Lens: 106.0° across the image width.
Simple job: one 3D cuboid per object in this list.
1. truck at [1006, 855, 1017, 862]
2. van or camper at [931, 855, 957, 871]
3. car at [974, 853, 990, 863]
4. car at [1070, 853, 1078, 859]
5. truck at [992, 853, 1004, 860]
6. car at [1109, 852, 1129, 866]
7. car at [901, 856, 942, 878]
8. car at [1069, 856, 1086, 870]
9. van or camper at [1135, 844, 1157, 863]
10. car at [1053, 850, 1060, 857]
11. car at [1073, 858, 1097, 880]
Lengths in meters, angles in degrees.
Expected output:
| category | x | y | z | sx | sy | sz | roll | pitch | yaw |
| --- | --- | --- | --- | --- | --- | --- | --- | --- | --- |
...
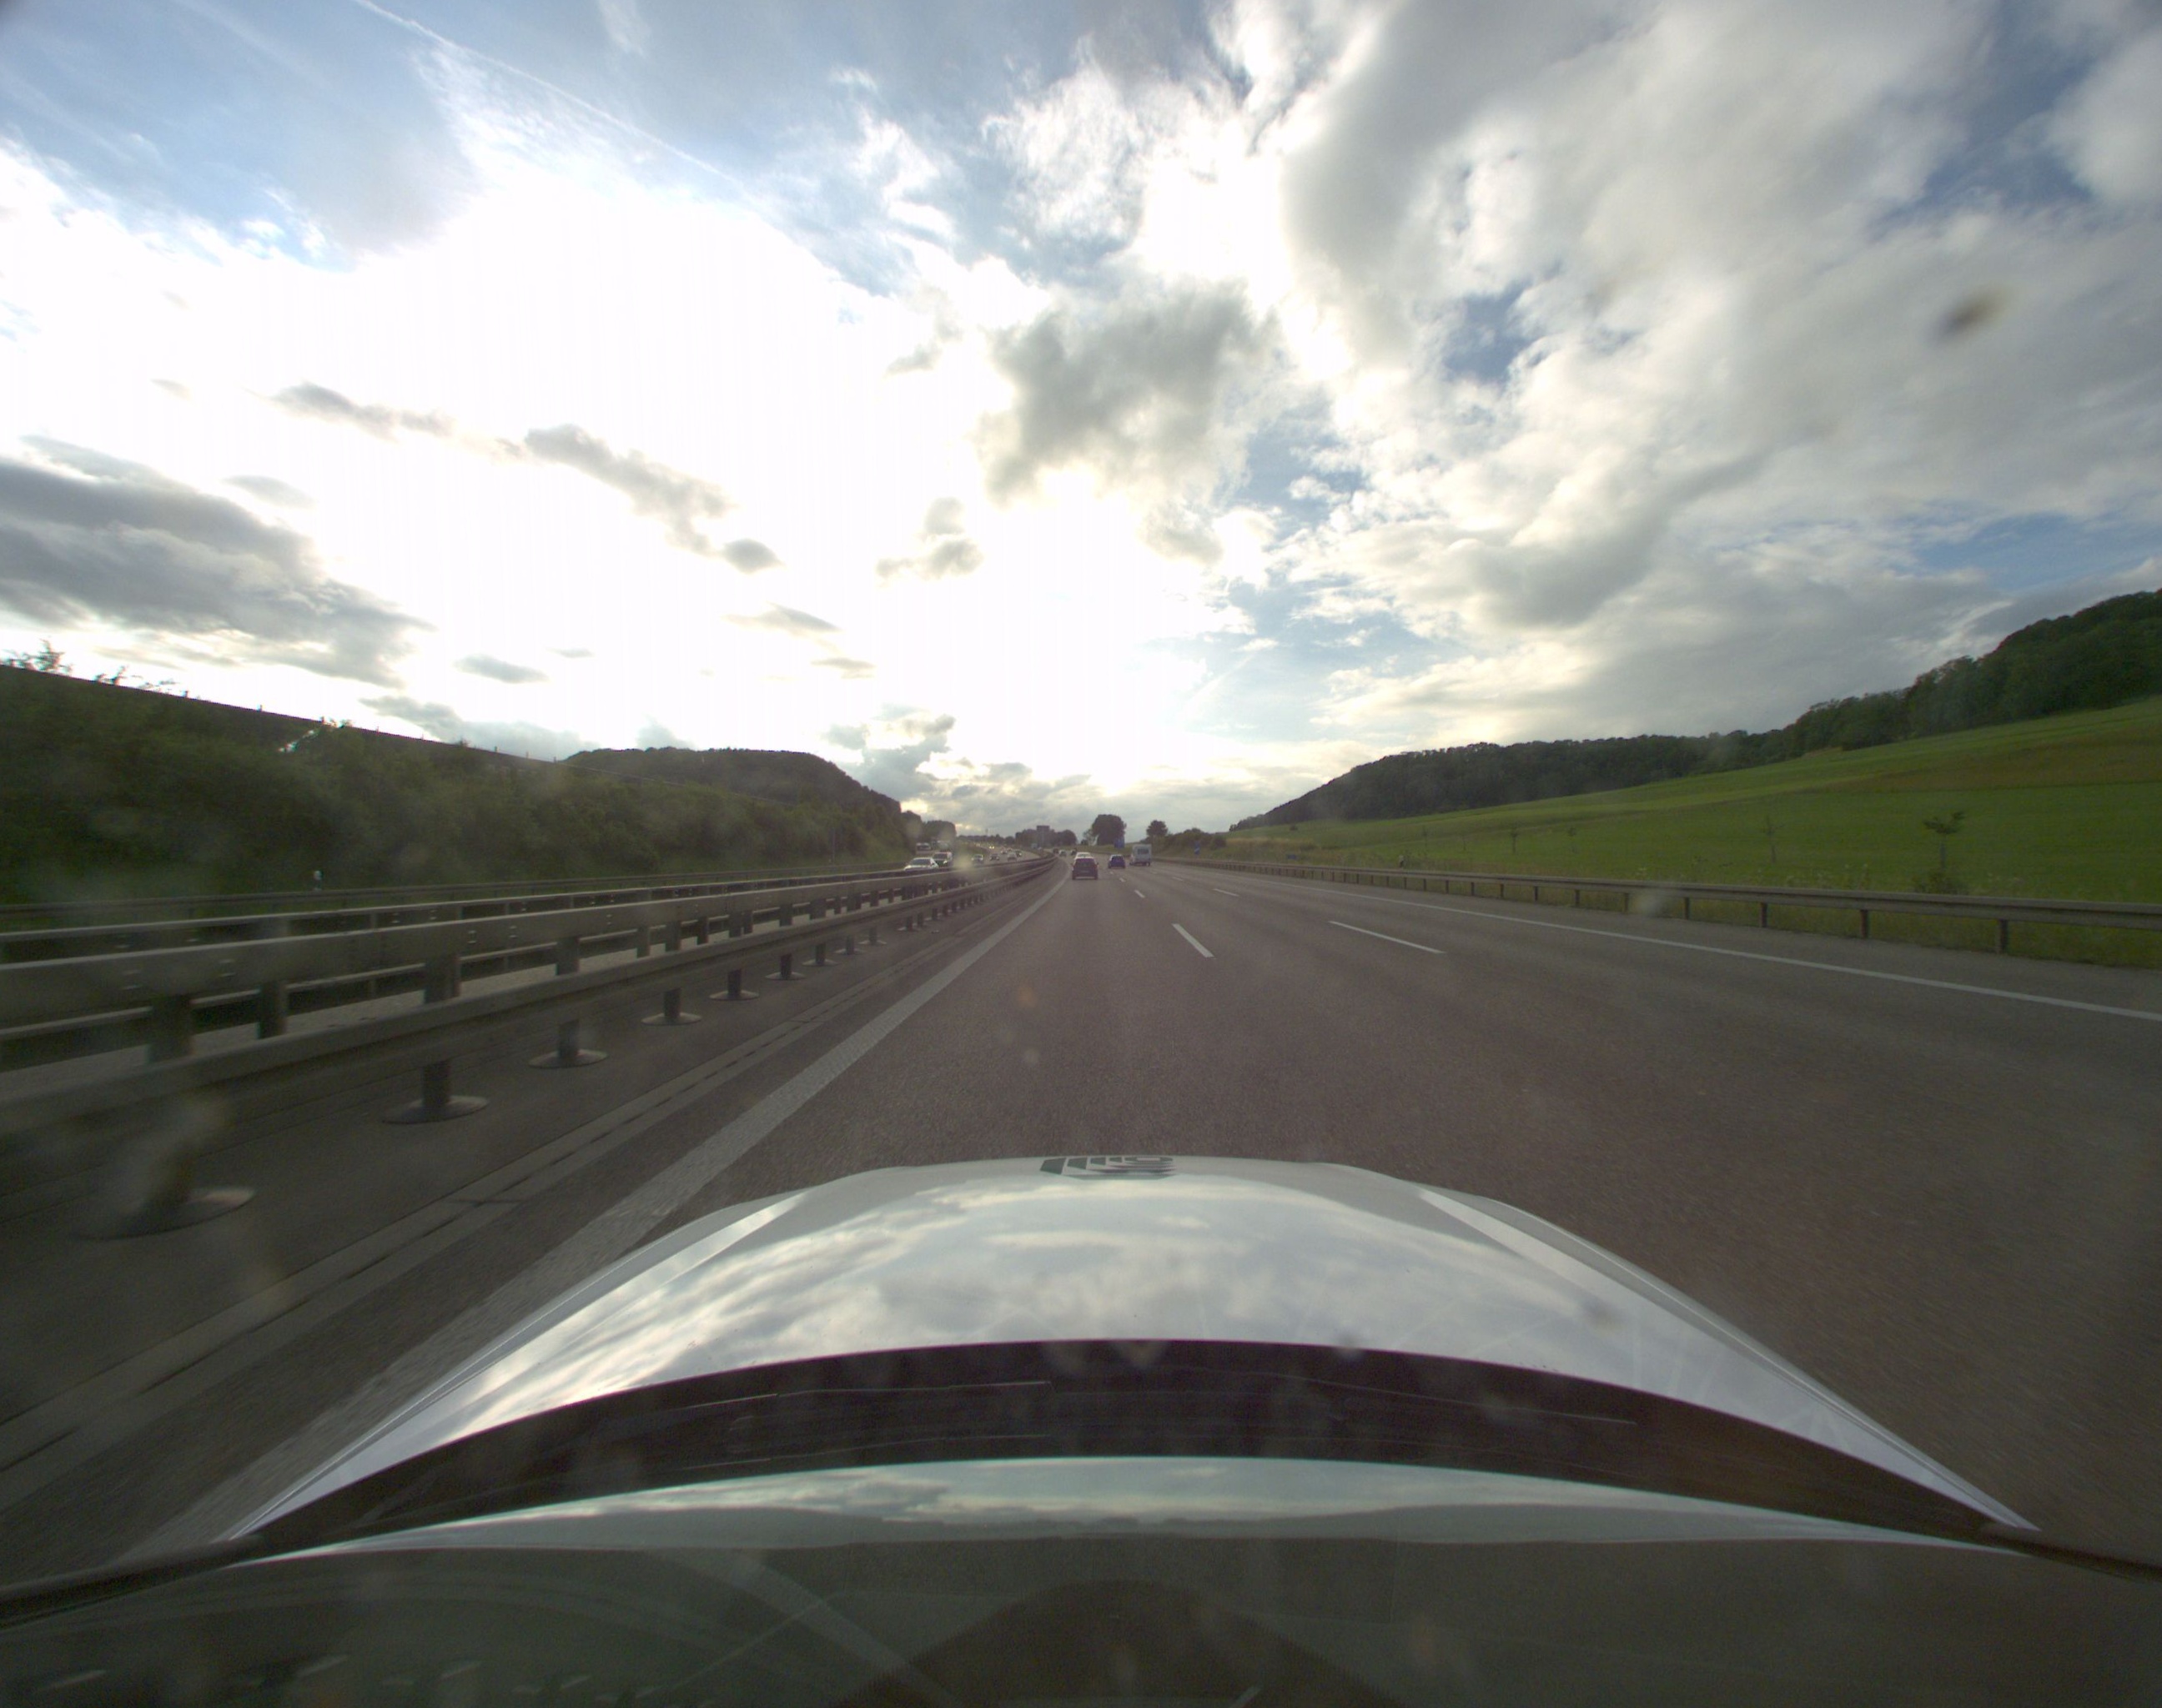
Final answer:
| category | x | y | z | sx | sy | sz | roll | pitch | yaw |
| --- | --- | --- | --- | --- | --- | --- | --- | --- | --- |
| truck | -13.288 | 0.903 | 156.300 | 1.990 | 1.222 | 3.994 | -2 | 0 | -5 |
| van or camper | -14.875 | 0.986 | 88.722 | 1.988 | 1.660 | 5.450 | -1 | 0 | -1 |
| car | -15.168 | 0.632 | 124.985 | 1.988 | 1.353 | 4.353 | -2 | 0 | -1 |
| car | -1.963 | 0.506 | 224.100 | 1.948 | 1.574 | 4.004 | -1 | -1 | 4 |
| truck | -16.437 | 0.501 | 161.676 | 1.988 | 1.353 | 3.944 | -2 | 0 | -1 |
| car | 3.984 | 0.554 | 86.960 | 1.763 | 1.433 | 3.996 | 0 | 0 | -3 |
| car | -10.964 | 0.906 | 56.282 | 1.988 | 1.430 | 4.584 | 0 | -1 | -1 |
| car | -0.345 | 0.922 | 82.320 | 1.559 | 1.380 | 4.001 | -1 | 0 | 1 |
| van or camper | 7.893 | -0.012 | 99.777 | 2.537 | 2.239 | 5.333 | -1 | 0 | 3 |
| car | -7.549 | -0.173 | 254.523 | 1.989 | 2.013 | 3.995 | -1 | 0 | -3 |
| car | 0.257 | 0.969 | 52.981 | 1.533 | 1.348 | 3.676 | -1 | 0 | 0 |
